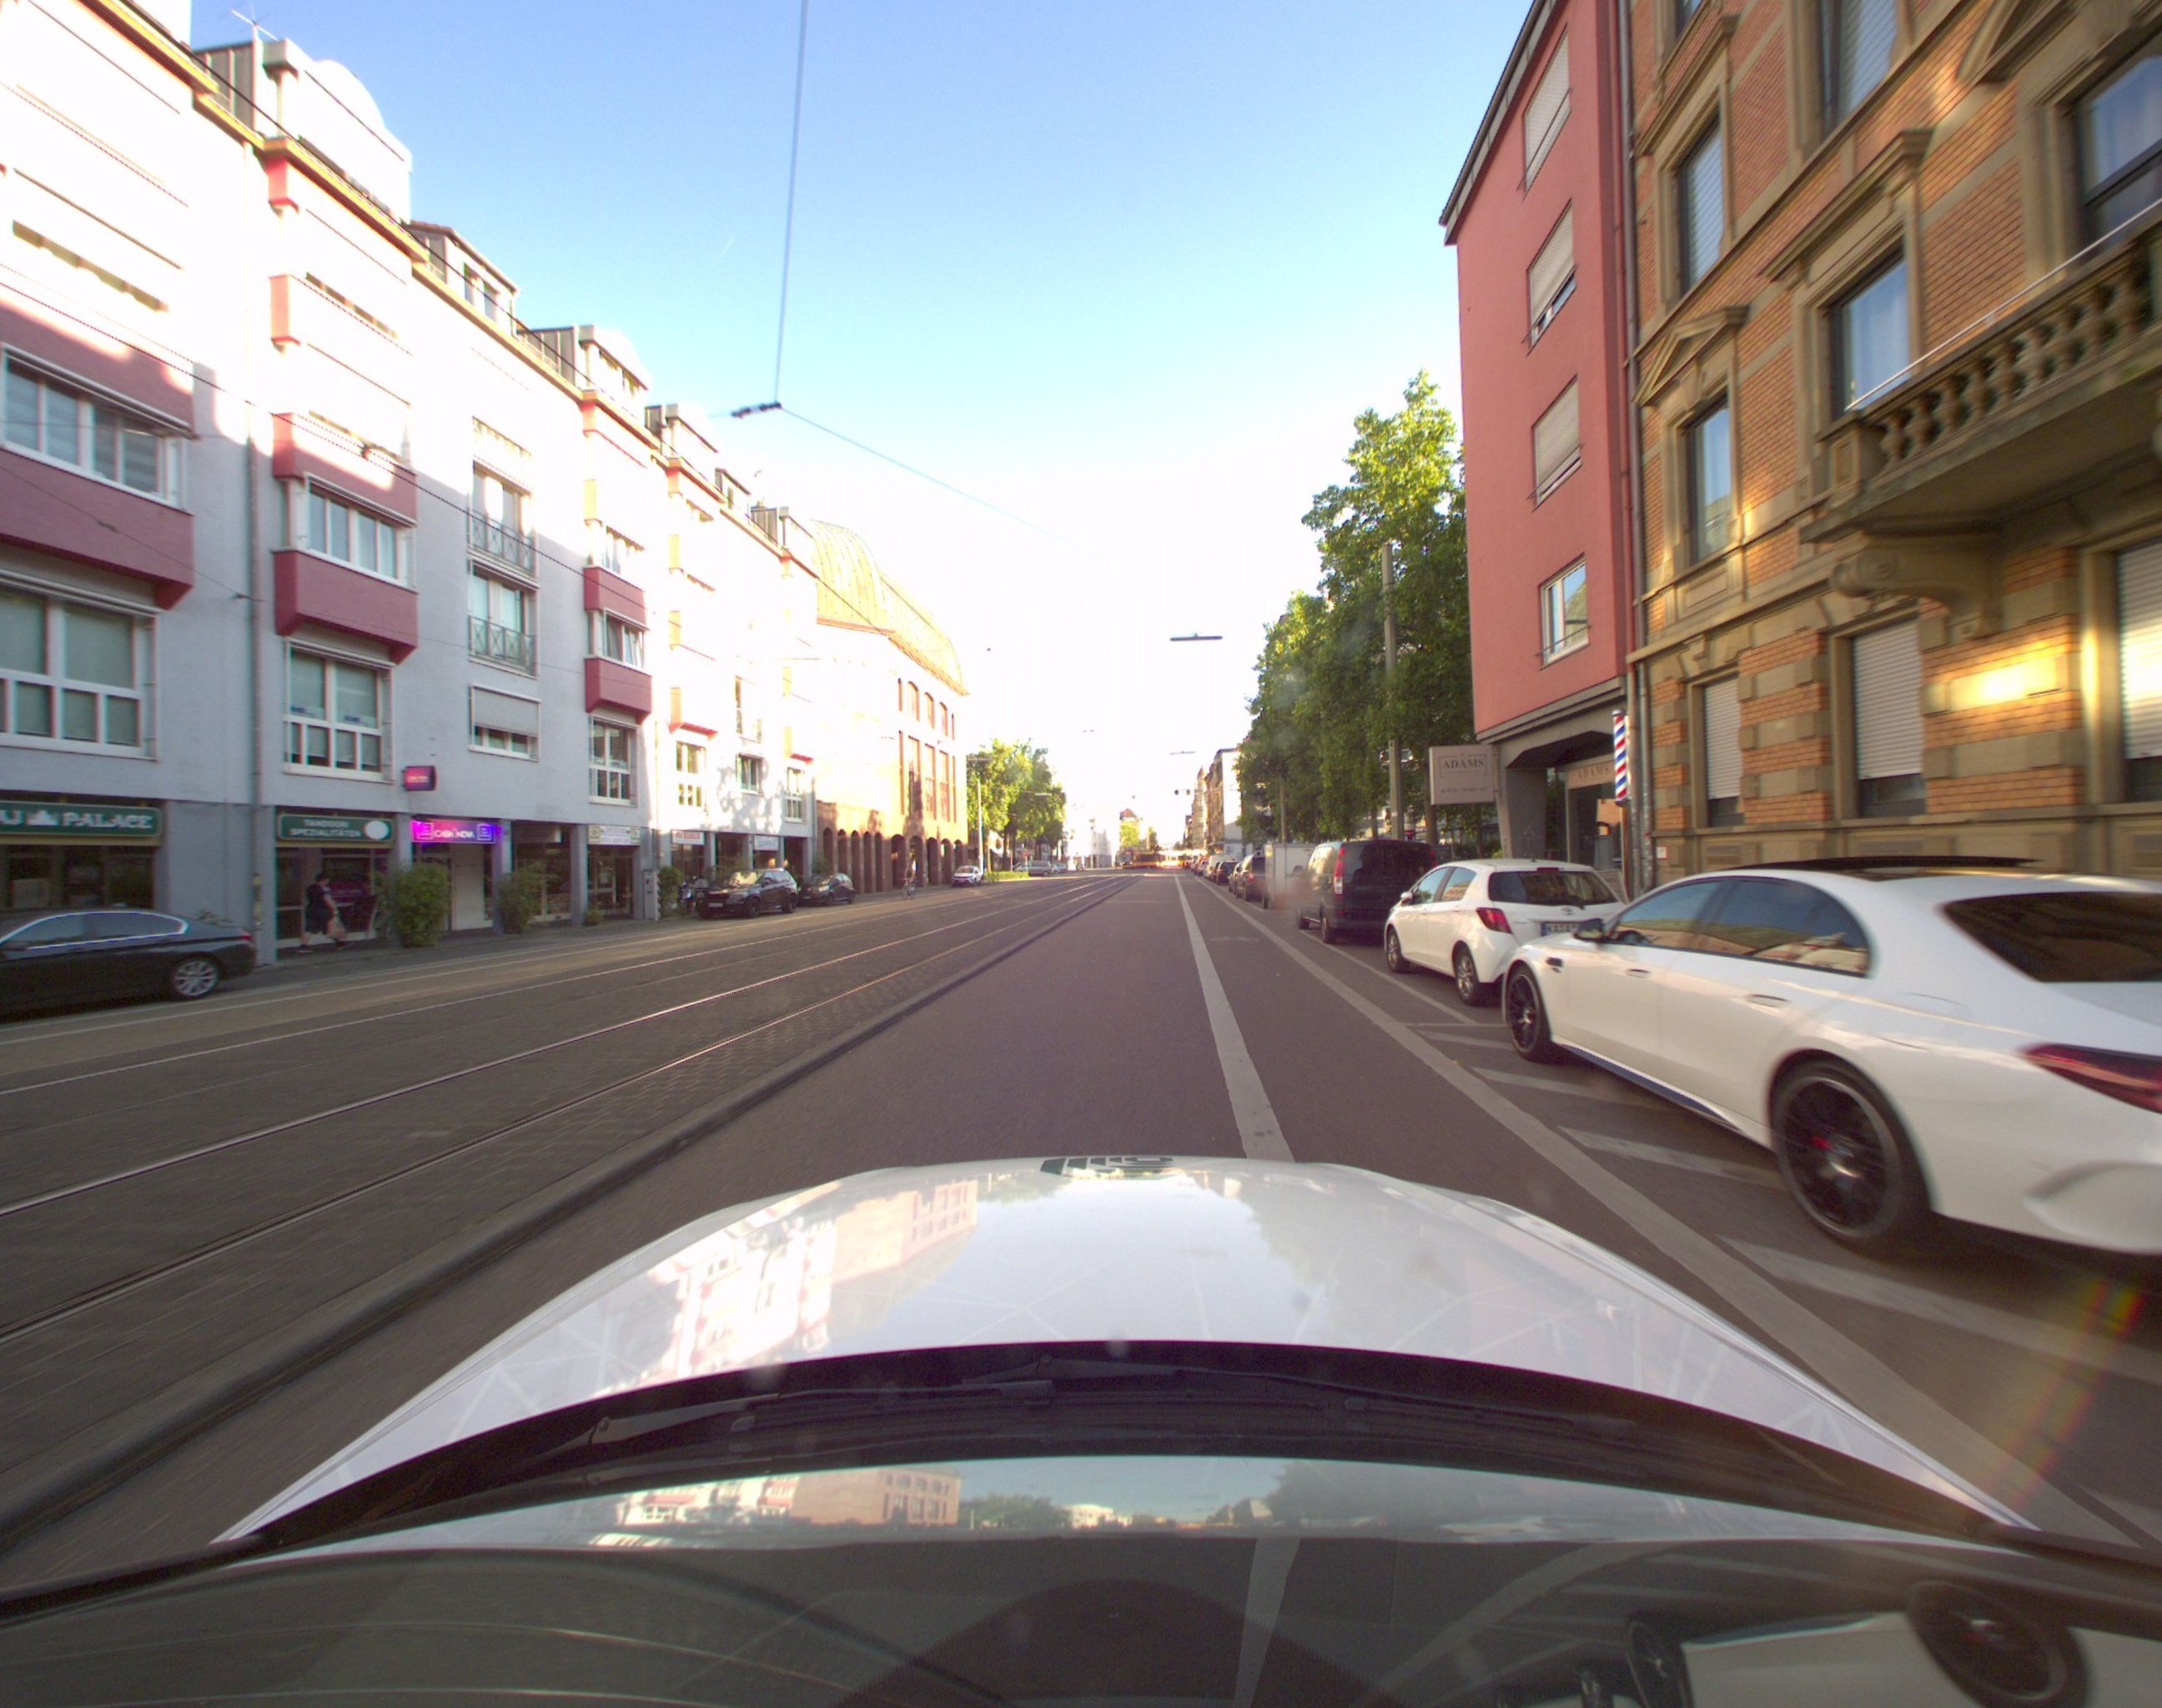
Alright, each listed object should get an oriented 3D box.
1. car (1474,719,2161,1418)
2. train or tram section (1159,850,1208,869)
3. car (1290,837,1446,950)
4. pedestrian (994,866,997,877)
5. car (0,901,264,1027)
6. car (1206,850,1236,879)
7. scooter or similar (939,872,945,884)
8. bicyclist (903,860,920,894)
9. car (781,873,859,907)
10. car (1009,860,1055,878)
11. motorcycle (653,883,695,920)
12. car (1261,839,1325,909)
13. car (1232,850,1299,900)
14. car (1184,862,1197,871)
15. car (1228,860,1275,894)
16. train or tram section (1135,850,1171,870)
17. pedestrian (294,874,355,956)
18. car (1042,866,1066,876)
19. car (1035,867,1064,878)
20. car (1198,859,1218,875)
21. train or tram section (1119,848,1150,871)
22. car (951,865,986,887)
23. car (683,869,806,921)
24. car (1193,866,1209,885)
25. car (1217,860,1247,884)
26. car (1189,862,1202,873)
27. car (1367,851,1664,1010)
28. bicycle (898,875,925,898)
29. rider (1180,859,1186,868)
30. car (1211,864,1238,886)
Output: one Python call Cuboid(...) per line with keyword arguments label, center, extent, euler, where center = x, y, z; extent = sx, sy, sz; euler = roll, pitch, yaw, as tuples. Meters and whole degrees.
Cuboid(label="car", center=(4.000, 0.582, 4.390), extent=(1.956, 1.772, 4.885), euler=(0, -1, 7))
Cuboid(label="train or tram section", center=(21.625, 1.255, 171.862), extent=(11.333, 3.752, 2.672), euler=(2, -1, -35))
Cuboid(label="car", center=(5.442, 0.683, 16.130), extent=(1.944, 1.869, 4.999), euler=(0, -1, 8))
Cuboid(label="pedestrian", center=(-10.359, 2.099, 98.592), extent=(0.363, 1.343, 0.481), euler=(2, -1, -14))
Cuboid(label="car", center=(-14.369, 1.451, 10.916), extent=(1.861, 1.439, 4.711), euler=(0, -1, 4))
Cuboid(label="car", center=(10.569, 0.815, 61.744), extent=(1.960, 2.014, 4.567), euler=(-2, -1, 7))
Cuboid(label="scooter or similar", center=(-11.094, 1.906, 65.166), extent=(0.363, 0.938, 0.968), euler=(2, -1, -14))
Cuboid(label="bicyclist", center=(-8.579, 1.156, 41.198), extent=(0.568, 1.712, 0.747), euler=(-3, -1, 6))
Cuboid(label="car", center=(-11.722, 1.585, 36.822), extent=(1.858, 1.451, 3.592), euler=(0, -1, 9))
Cuboid(label="car", center=(-6.091, 1.864, 101.693), extent=(5.279, 2.043, 2.398), euler=(2, -3, -26))
Cuboid(label="motorcycle", center=(-14.001, 1.628, 28.073), extent=(0.670, 1.205, 2.133), euler=(1, -2, -10))
Cuboid(label="car", center=(6.890, 0.661, 26.797), extent=(1.695, 2.120, 3.715), euler=(0, -1, 9))
Cuboid(label="car", center=(7.156, 0.791, 32.071), extent=(1.940, 1.788, 5.188), euler=(1, -1, 5))
Cuboid(label="car", center=(18.720, 2.111, 139.736), extent=(2.055, 1.389, 4.232), euler=(2, -1, 6))
Cuboid(label="car", center=(7.960, 1.046, 38.418), extent=(1.708, 1.427, 4.683), euler=(0, 0, 6))
Cuboid(label="train or tram section", center=(14.551, 1.253, 163.410), extent=(2.667, 3.878, 12.918), euler=(1, -1, 27))
Cuboid(label="pedestrian", center=(-16.456, 1.313, 17.728), extent=(0.611, 1.712, 0.746), euler=(-1, -1, 4))
Cuboid(label="car", center=(-4.291, 2.763, 131.070), extent=(3.537, 1.481, 1.569), euler=(1, -1, -26))
Cuboid(label="car", center=(-4.620, 2.728, 120.938), extent=(3.887, 1.627, 1.860), euler=(1, -1, -25))
Cuboid(label="car", center=(12.517, 1.290, 80.389), extent=(1.714, 1.568, 4.089), euler=(-2, -1, 6))
Cuboid(label="train or tram section", center=(10.087, 1.073, 152.152), extent=(2.670, 3.960, 12.145), euler=(1, -1, 18))
Cuboid(label="car", center=(-8.741, 1.711, 63.726), extent=(1.861, 1.600, 4.258), euler=(0, -1, 4))
Cuboid(label="car", center=(-12.140, 1.432, 29.791), extent=(2.080, 1.713, 4.826), euler=(1, -2, 5))
Cuboid(label="car", center=(13.376, 2.404, 90.766), extent=(1.613, 2.007, 3.837), euler=(1, -1, 6))
Cuboid(label="car", center=(9.341, 1.101, 50.540), extent=(1.612, 1.432, 3.992), euler=(0, -1, 7))
Cuboid(label="car", center=(15.915, 1.880, 113.033), extent=(1.613, 1.555, 4.089), euler=(1, -1, 6))
Cuboid(label="car", center=(4.862, 0.752, 9.808), extent=(1.722, 1.496, 3.966), euler=(1, -1, 4))
Cuboid(label="bicycle", center=(-8.559, 1.616, 41.208), extent=(0.579, 1.078, 2.190), euler=(-3, -1, 7))
Cuboid(label="rider", center=(18.090, 1.693, 144.650), extent=(0.875, 1.481, 0.717), euler=(1, -1, 25))
Cuboid(label="car", center=(9.804, 1.417, 55.896), extent=(1.612, 1.474, 3.978), euler=(0, -1, 7))
